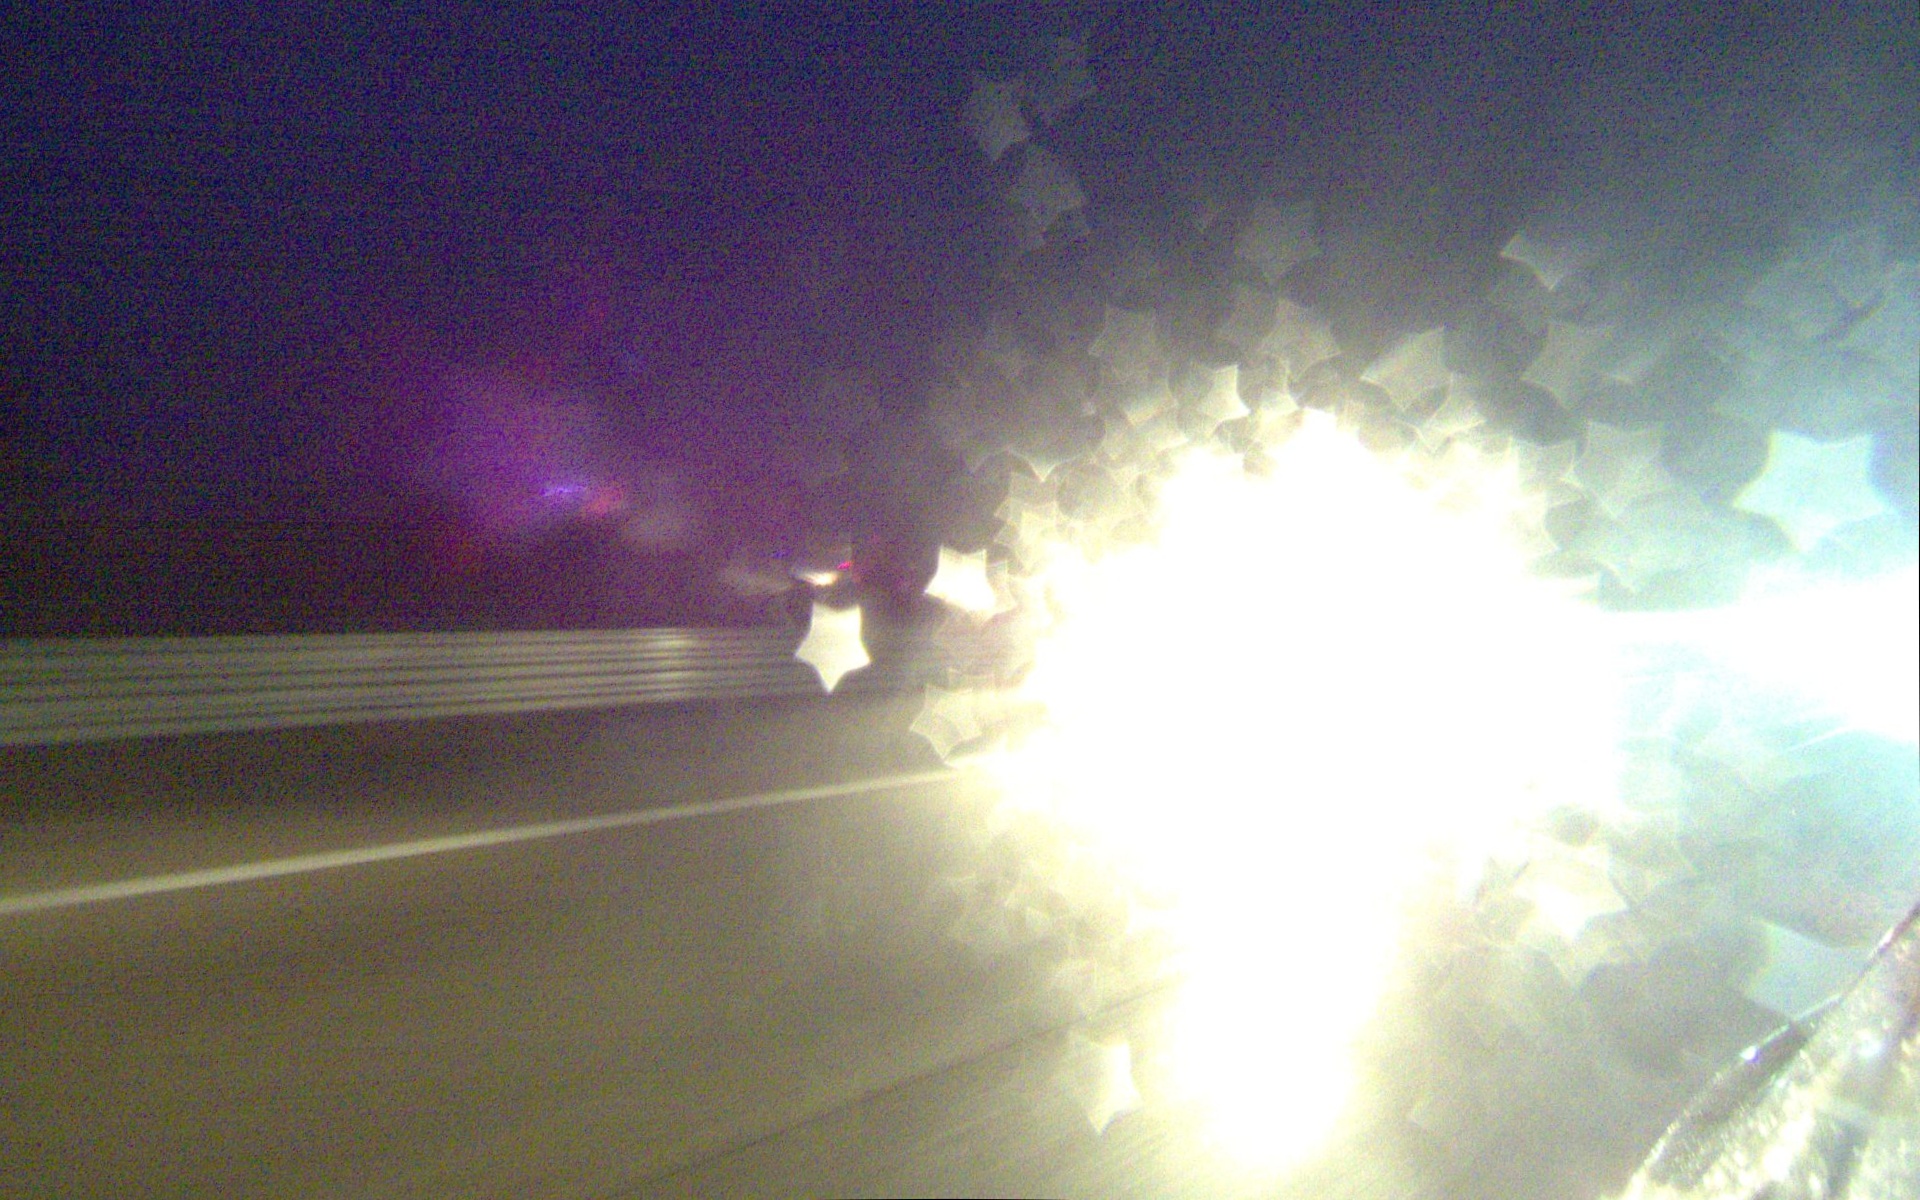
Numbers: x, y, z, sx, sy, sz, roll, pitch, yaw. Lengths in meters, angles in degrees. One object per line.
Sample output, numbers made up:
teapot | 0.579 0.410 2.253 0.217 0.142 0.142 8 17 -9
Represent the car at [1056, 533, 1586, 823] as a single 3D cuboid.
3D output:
car | 3.315 0.455 8.692 5.032 1.814 1.958 0 1 -39
